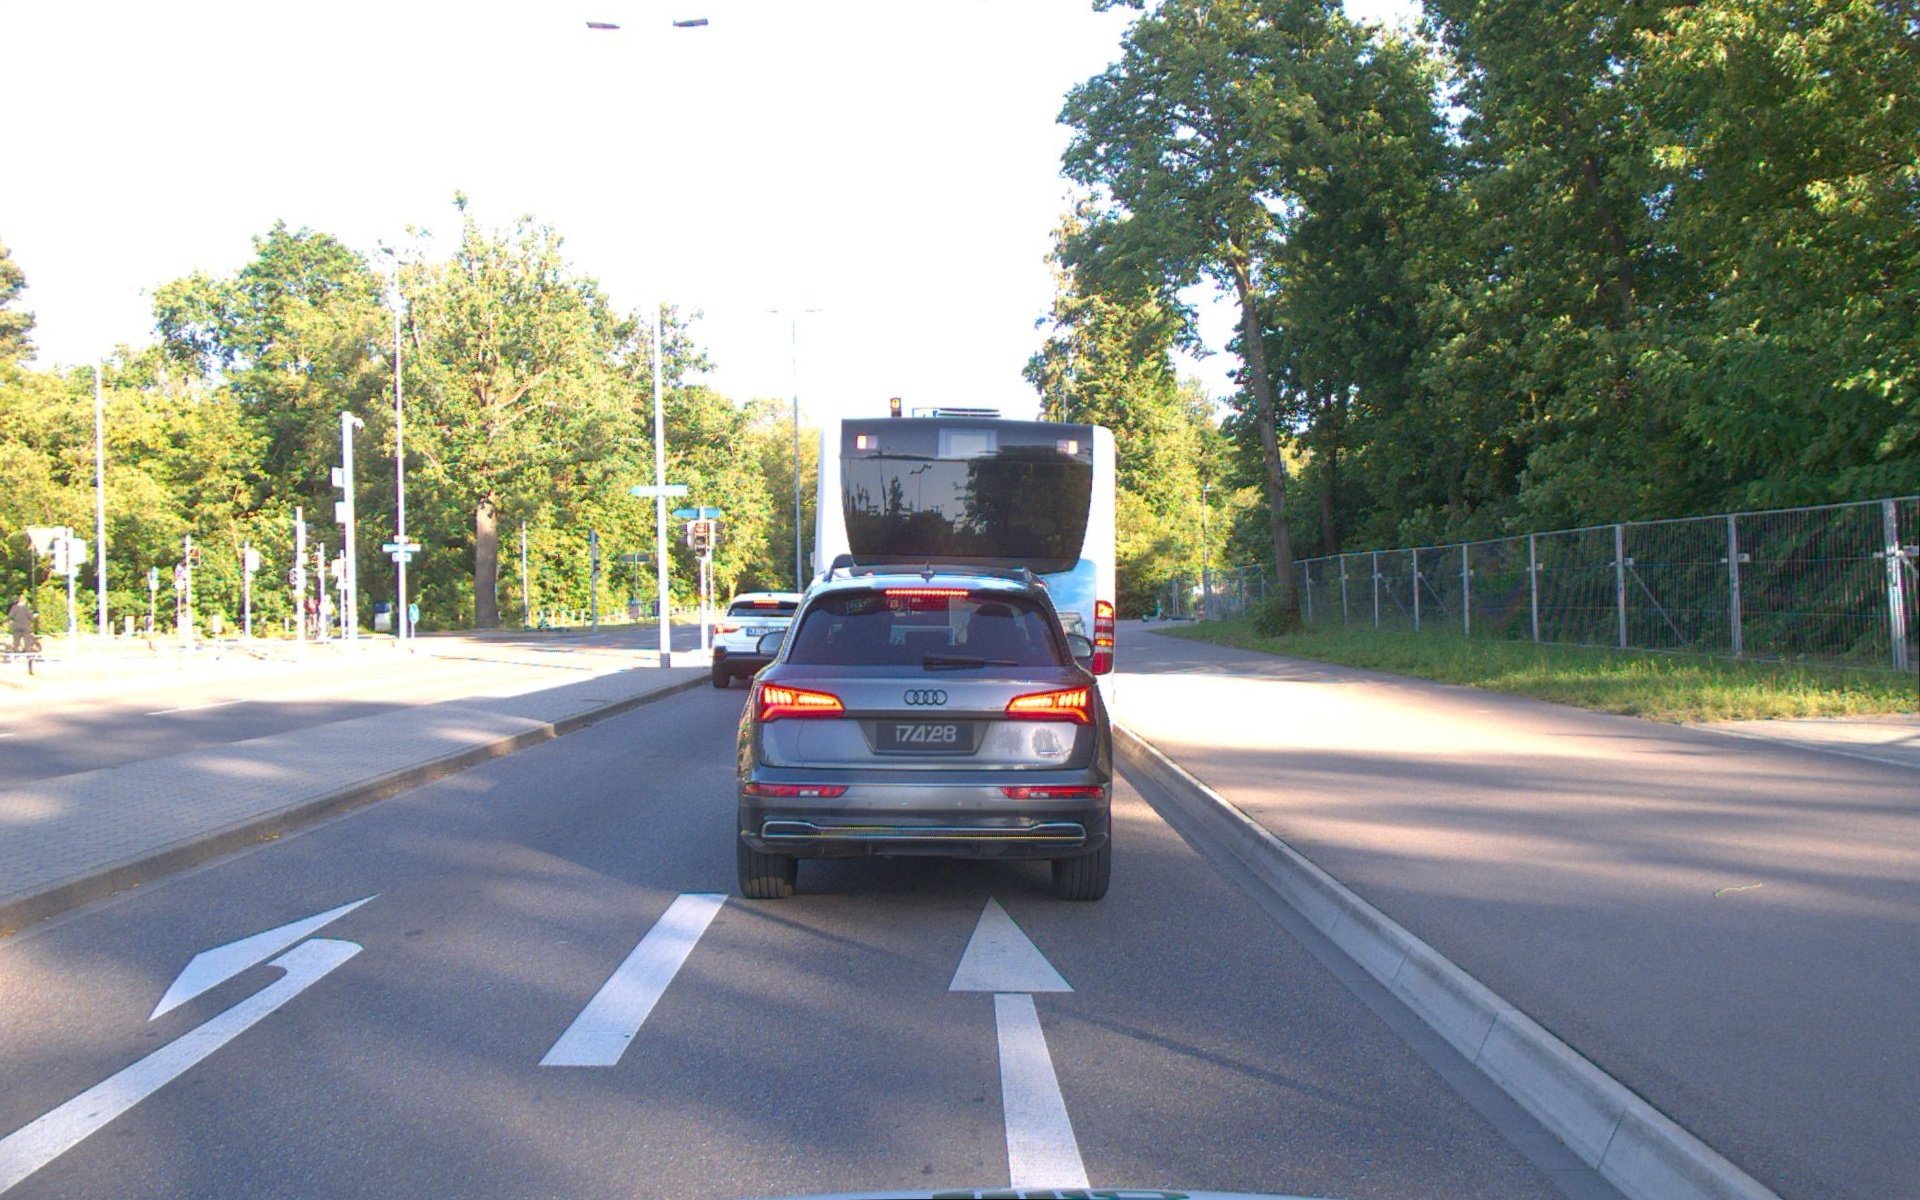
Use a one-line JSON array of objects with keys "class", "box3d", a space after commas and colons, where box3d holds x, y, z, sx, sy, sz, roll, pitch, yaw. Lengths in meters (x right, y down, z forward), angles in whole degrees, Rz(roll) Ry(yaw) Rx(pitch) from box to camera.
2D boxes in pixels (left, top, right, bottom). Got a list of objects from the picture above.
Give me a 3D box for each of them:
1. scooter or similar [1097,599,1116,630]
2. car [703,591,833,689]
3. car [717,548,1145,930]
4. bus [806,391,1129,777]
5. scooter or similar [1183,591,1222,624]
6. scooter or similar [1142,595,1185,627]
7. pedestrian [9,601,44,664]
[{"class": "scooter or similar", "box3d": [7.221, 0.717, 81.686, 0.498, 1.469, 2.020, -2, 0, -6]}, {"class": "car", "box3d": [-3.208, 0.631, 28.359, 1.799, 1.545, 3.999, -1, 0, -1]}, {"class": "car", "box3d": [-0.153, 0.607, 9.259, 1.860, 1.660, 3.999, 1, 0, -1]}, {"class": "bus", "box3d": [-0.002, -0.092, 17.763, 2.542, 3.041, 9.324, 0, 0, -1]}, {"class": "scooter or similar", "box3d": [11.773, 0.365, 80.378, 0.535, 1.594, 1.993, -2, 0, -40]}, {"class": "scooter or similar", "box3d": [9.729, 0.530, 79.053, 1.991, 1.469, 0.601, -2, 0, -26]}, {"class": "pedestrian", "box3d": [-24.140, 0.835, 42.767, 0.643, 1.587, 0.531, -1, 0, -43]}]
